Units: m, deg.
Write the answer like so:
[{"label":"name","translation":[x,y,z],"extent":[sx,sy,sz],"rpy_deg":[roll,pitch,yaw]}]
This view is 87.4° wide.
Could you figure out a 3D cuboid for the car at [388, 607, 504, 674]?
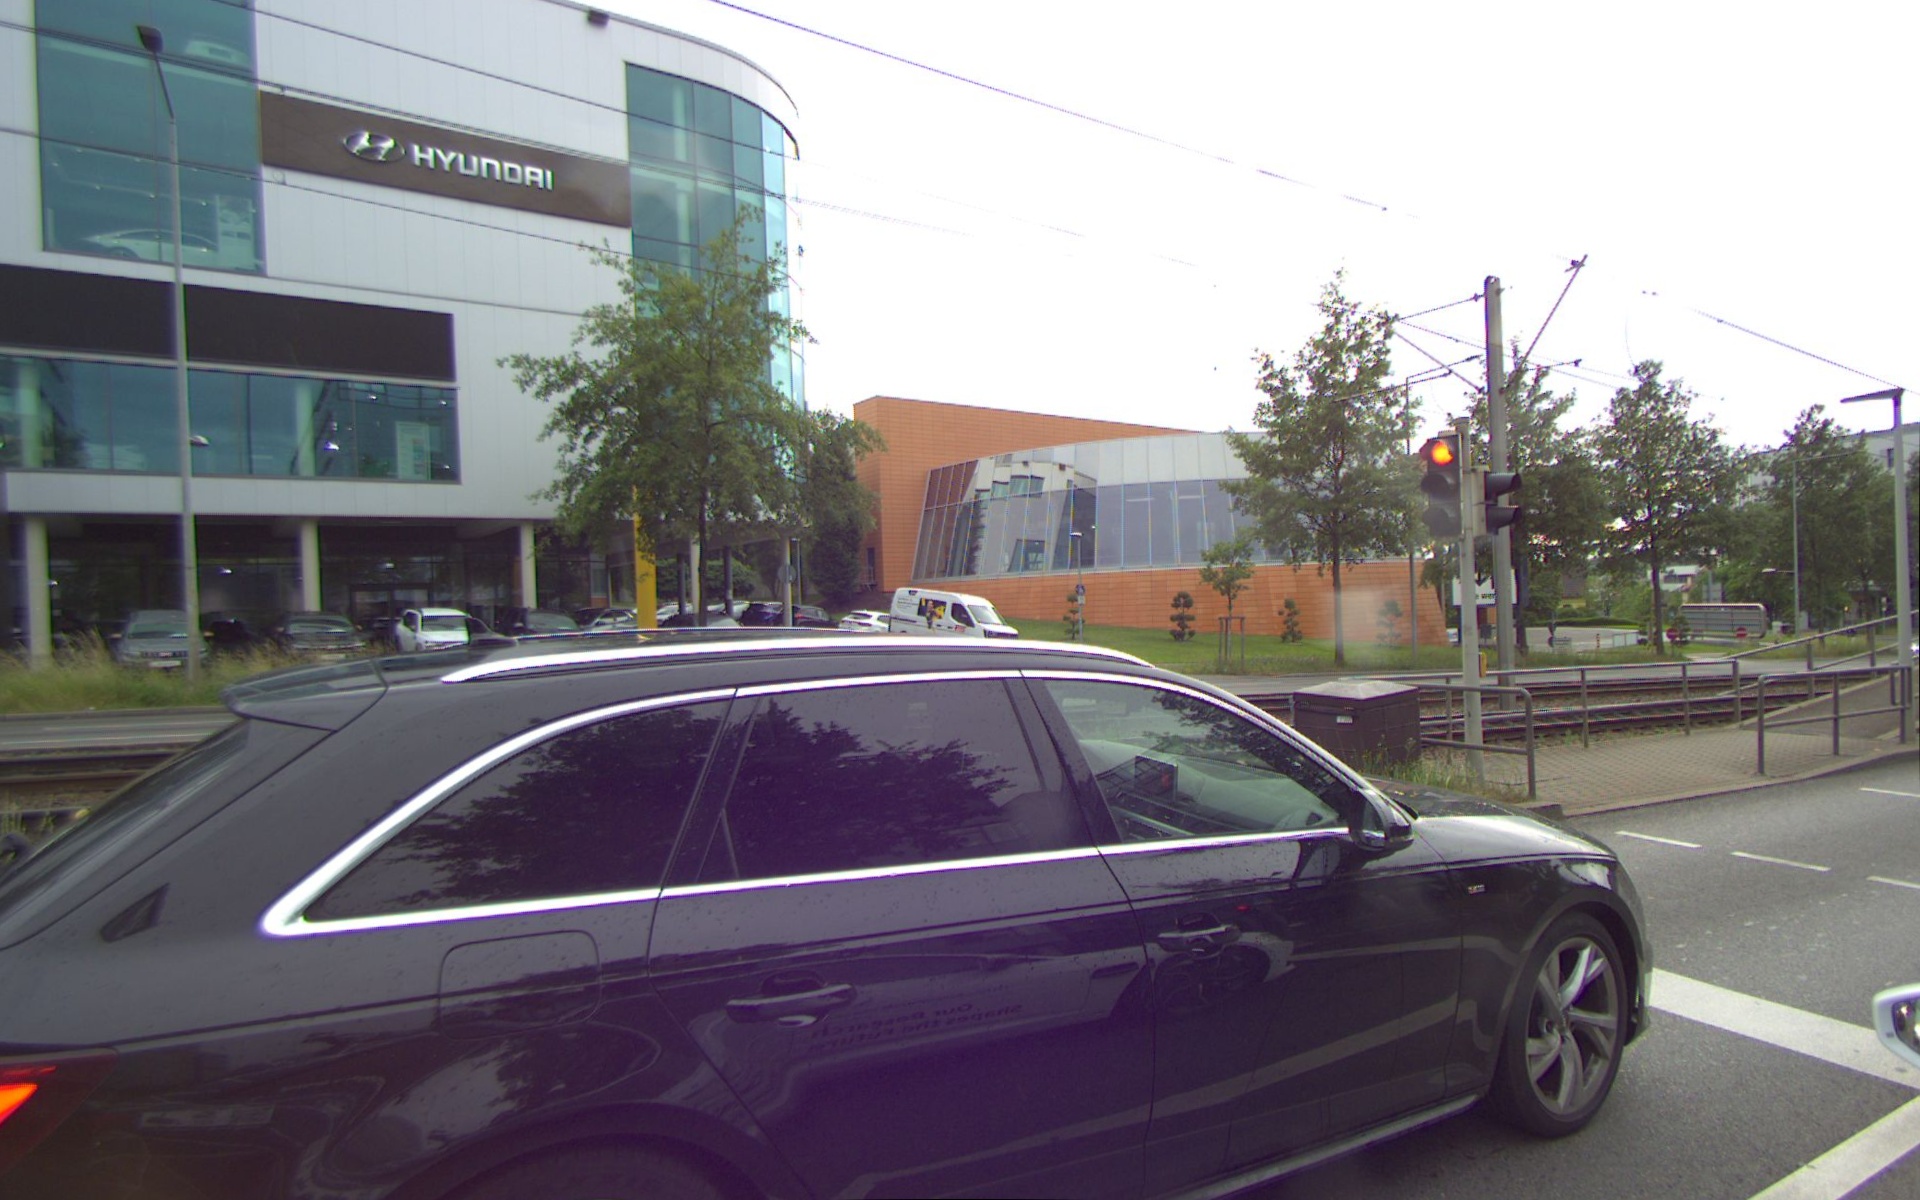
[{"label":"car","translation":[-14.508,1.072,28.238],"extent":[1.984,1.571,4.324],"rpy_deg":[1,1,-40]}]

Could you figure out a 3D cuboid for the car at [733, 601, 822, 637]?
[{"label":"car","translation":[-8.878,0.909,49.071],"extent":[1.969,1.653,3.982],"rpy_deg":[0,-1,39]}]

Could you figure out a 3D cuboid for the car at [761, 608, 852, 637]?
[{"label":"car","translation":[-7.228,1.063,47.506],"extent":[1.969,1.297,3.982],"rpy_deg":[0,-1,39]}]

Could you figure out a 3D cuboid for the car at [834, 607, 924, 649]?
[{"label":"car","translation":[-3.349,1.161,42.152],"extent":[1.703,1.688,3.734],"rpy_deg":[1,-1,38]}]

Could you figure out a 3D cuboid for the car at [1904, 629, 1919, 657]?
[{"label":"car","translation":[51.038,2.223,52.424],"extent":[3.837,1.455,1.642],"rpy_deg":[1,-3,-33]}]

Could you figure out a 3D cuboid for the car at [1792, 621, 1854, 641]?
[{"label":"car","translation":[65.478,2.340,76.242],"extent":[1.411,1.405,3.365],"rpy_deg":[0,0,-19]}]

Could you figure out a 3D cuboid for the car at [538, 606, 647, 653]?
[{"label":"car","translation":[-12.842,1.010,35.332],"extent":[1.691,1.572,3.587],"rpy_deg":[0,-1,20]}]

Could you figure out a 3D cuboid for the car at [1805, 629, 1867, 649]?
[{"label":"car","translation":[67.179,2.954,77.080],"extent":[1.408,1.405,3.371],"rpy_deg":[0,0,-13]}]

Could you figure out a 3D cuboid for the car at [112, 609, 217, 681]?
[{"label":"car","translation":[-19.875,1.056,25.056],"extent":[1.917,1.479,3.974],"rpy_deg":[1,1,-40]}]

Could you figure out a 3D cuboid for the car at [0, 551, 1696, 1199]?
[{"label":"car","translation":[0.007,0.719,2.857],"extent":[4.461,1.486,1.772],"rpy_deg":[1,-1,-31]}]

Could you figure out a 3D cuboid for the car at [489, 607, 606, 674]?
[{"label":"car","translation":[-12.330,1.135,29.854],"extent":[1.984,1.637,4.324],"rpy_deg":[1,1,-40]}]

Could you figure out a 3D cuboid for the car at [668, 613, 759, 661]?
[{"label":"car","translation":[-7.848,1.127,31.770],"extent":[1.565,1.409,3.619],"rpy_deg":[0,-1,-36]}]

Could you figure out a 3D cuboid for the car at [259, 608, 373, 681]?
[{"label":"car","translation":[-16.966,1.103,26.382],"extent":[1.984,1.571,4.324],"rpy_deg":[1,1,-40]}]

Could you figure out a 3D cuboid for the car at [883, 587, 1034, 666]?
[{"label":"car","translation":[-0.129,0.914,38.103],"extent":[5.544,2.616,2.392],"rpy_deg":[3,1,43]}]
